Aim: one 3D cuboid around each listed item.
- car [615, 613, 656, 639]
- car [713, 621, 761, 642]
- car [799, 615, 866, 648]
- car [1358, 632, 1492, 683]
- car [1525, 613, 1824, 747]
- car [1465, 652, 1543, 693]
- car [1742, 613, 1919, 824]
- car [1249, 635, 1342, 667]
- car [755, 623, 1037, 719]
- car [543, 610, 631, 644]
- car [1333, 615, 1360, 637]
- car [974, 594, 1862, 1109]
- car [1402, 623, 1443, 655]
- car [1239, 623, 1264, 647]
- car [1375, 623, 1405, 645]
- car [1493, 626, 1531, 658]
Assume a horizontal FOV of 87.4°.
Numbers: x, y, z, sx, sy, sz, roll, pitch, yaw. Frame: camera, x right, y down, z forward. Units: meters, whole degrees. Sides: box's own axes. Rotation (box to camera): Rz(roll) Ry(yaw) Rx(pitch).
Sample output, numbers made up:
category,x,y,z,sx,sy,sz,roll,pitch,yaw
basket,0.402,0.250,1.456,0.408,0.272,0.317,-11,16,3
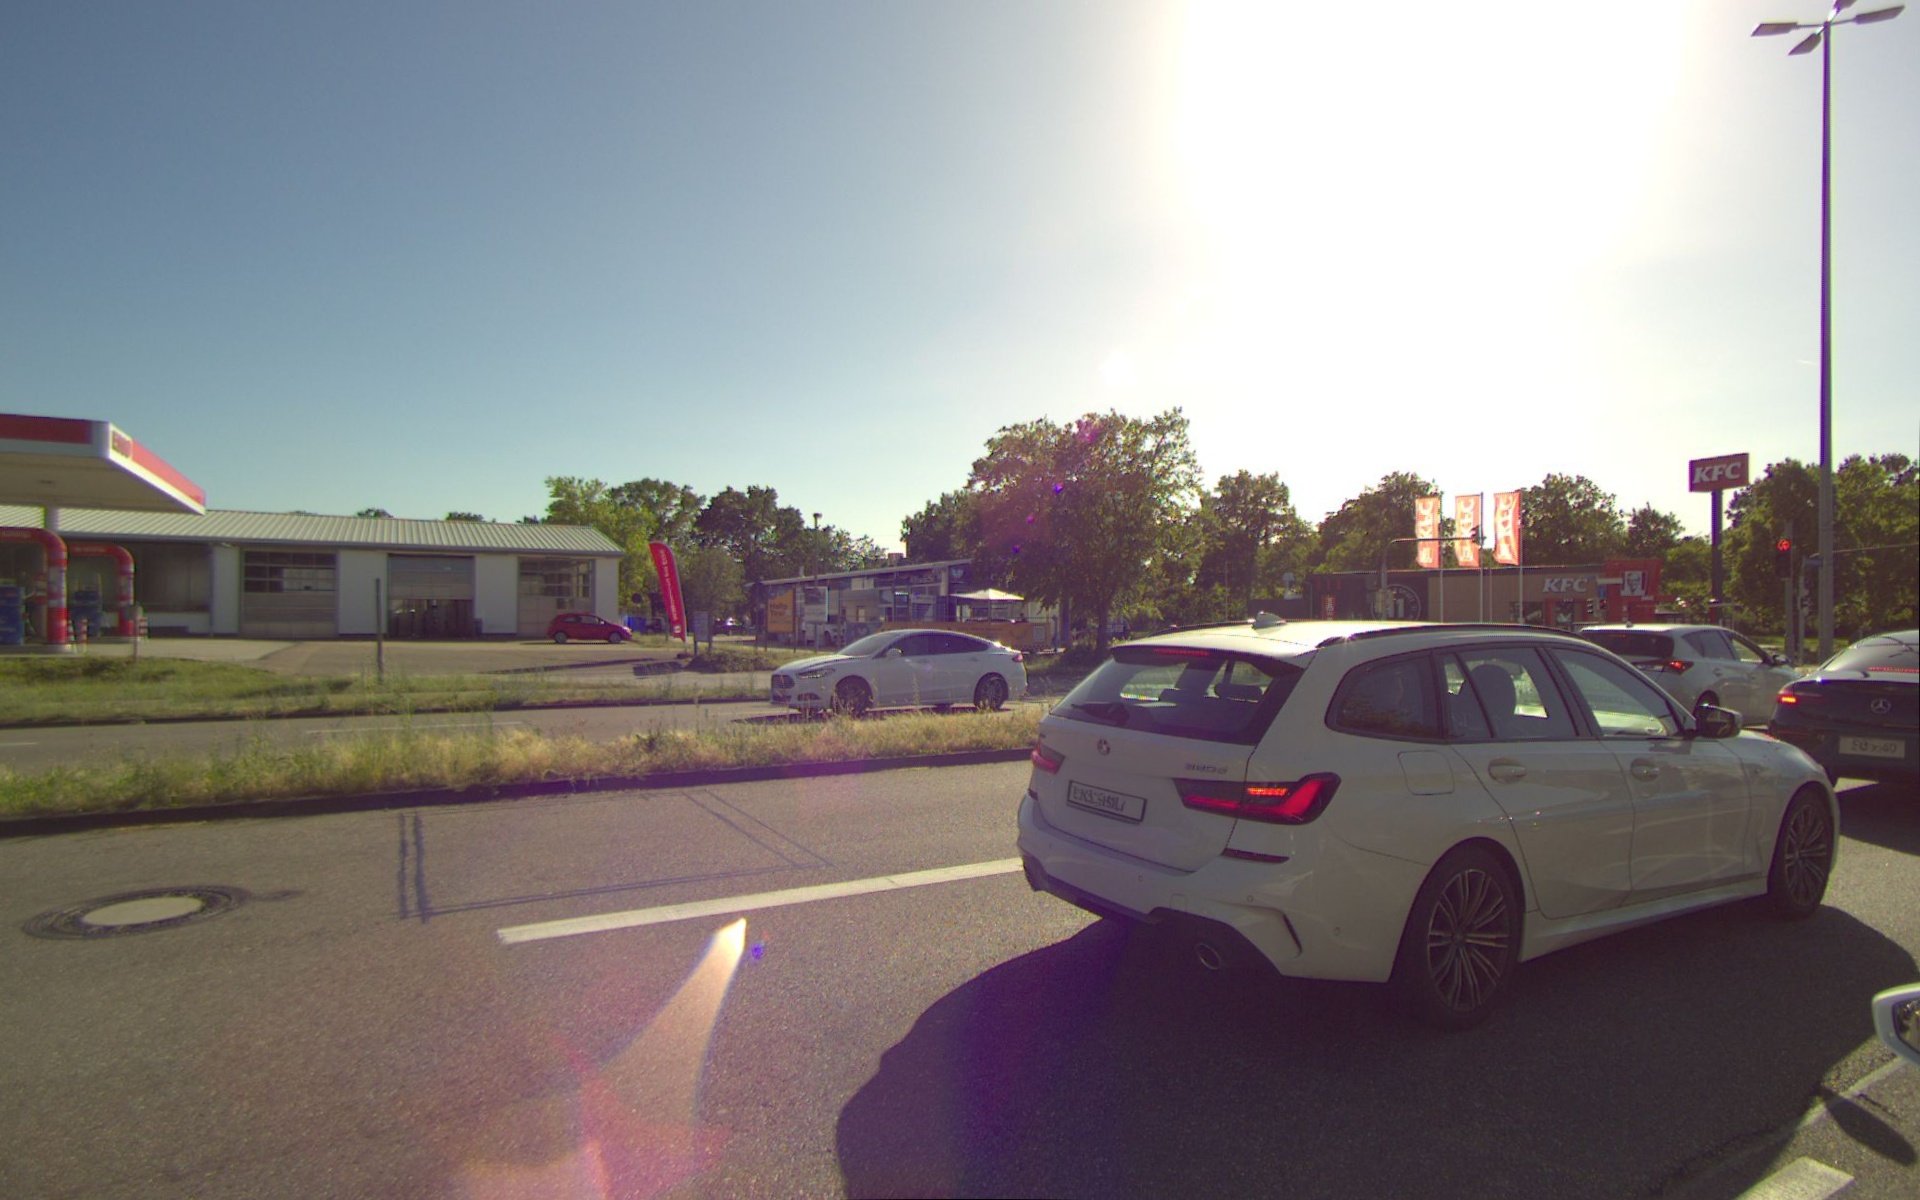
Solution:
category,x,y,z,sx,sy,sz,roll,pitch,yaw
car,-19.314,1.552,59.688,1.634,1.383,3.744,2,0,-29
car,-19.425,2.728,87.637,3.929,1.634,1.996,2,0,-11
car,-6.794,1.651,53.163,1.978,1.584,3.964,2,0,-32
car,13.893,1.721,29.982,3.933,1.428,1.750,2,-4,-31
car,9.565,0.986,13.374,4.150,1.510,1.750,2,0,-31
car,20.035,2.633,36.913,1.708,1.428,4.286,-3,-4,39
car,8.777,0.932,8.635,4.425,1.510,1.787,2,0,-31
car,16.496,2.510,49.573,1.742,1.510,4.395,1,-3,-28
car,-1.063,1.236,17.914,4.829,1.509,1.749,2,-5,-34
car,-18.343,1.329,49.405,3.946,1.537,1.772,2,0,-25
car,28.296,1.896,73.652,1.629,1.491,3.919,2,0,18
car,2.386,0.800,4.872,4.353,1.510,1.776,2,0,-31
car,28.349,2.345,61.516,1.964,1.788,4.349,2,0,29
car,21.818,2.580,75.150,1.629,1.695,3.945,2,0,18
car,31.307,2.447,73.216,1.629,1.491,3.919,2,0,18
car,33.095,2.475,60.198,1.880,1.776,4.349,2,0,29
